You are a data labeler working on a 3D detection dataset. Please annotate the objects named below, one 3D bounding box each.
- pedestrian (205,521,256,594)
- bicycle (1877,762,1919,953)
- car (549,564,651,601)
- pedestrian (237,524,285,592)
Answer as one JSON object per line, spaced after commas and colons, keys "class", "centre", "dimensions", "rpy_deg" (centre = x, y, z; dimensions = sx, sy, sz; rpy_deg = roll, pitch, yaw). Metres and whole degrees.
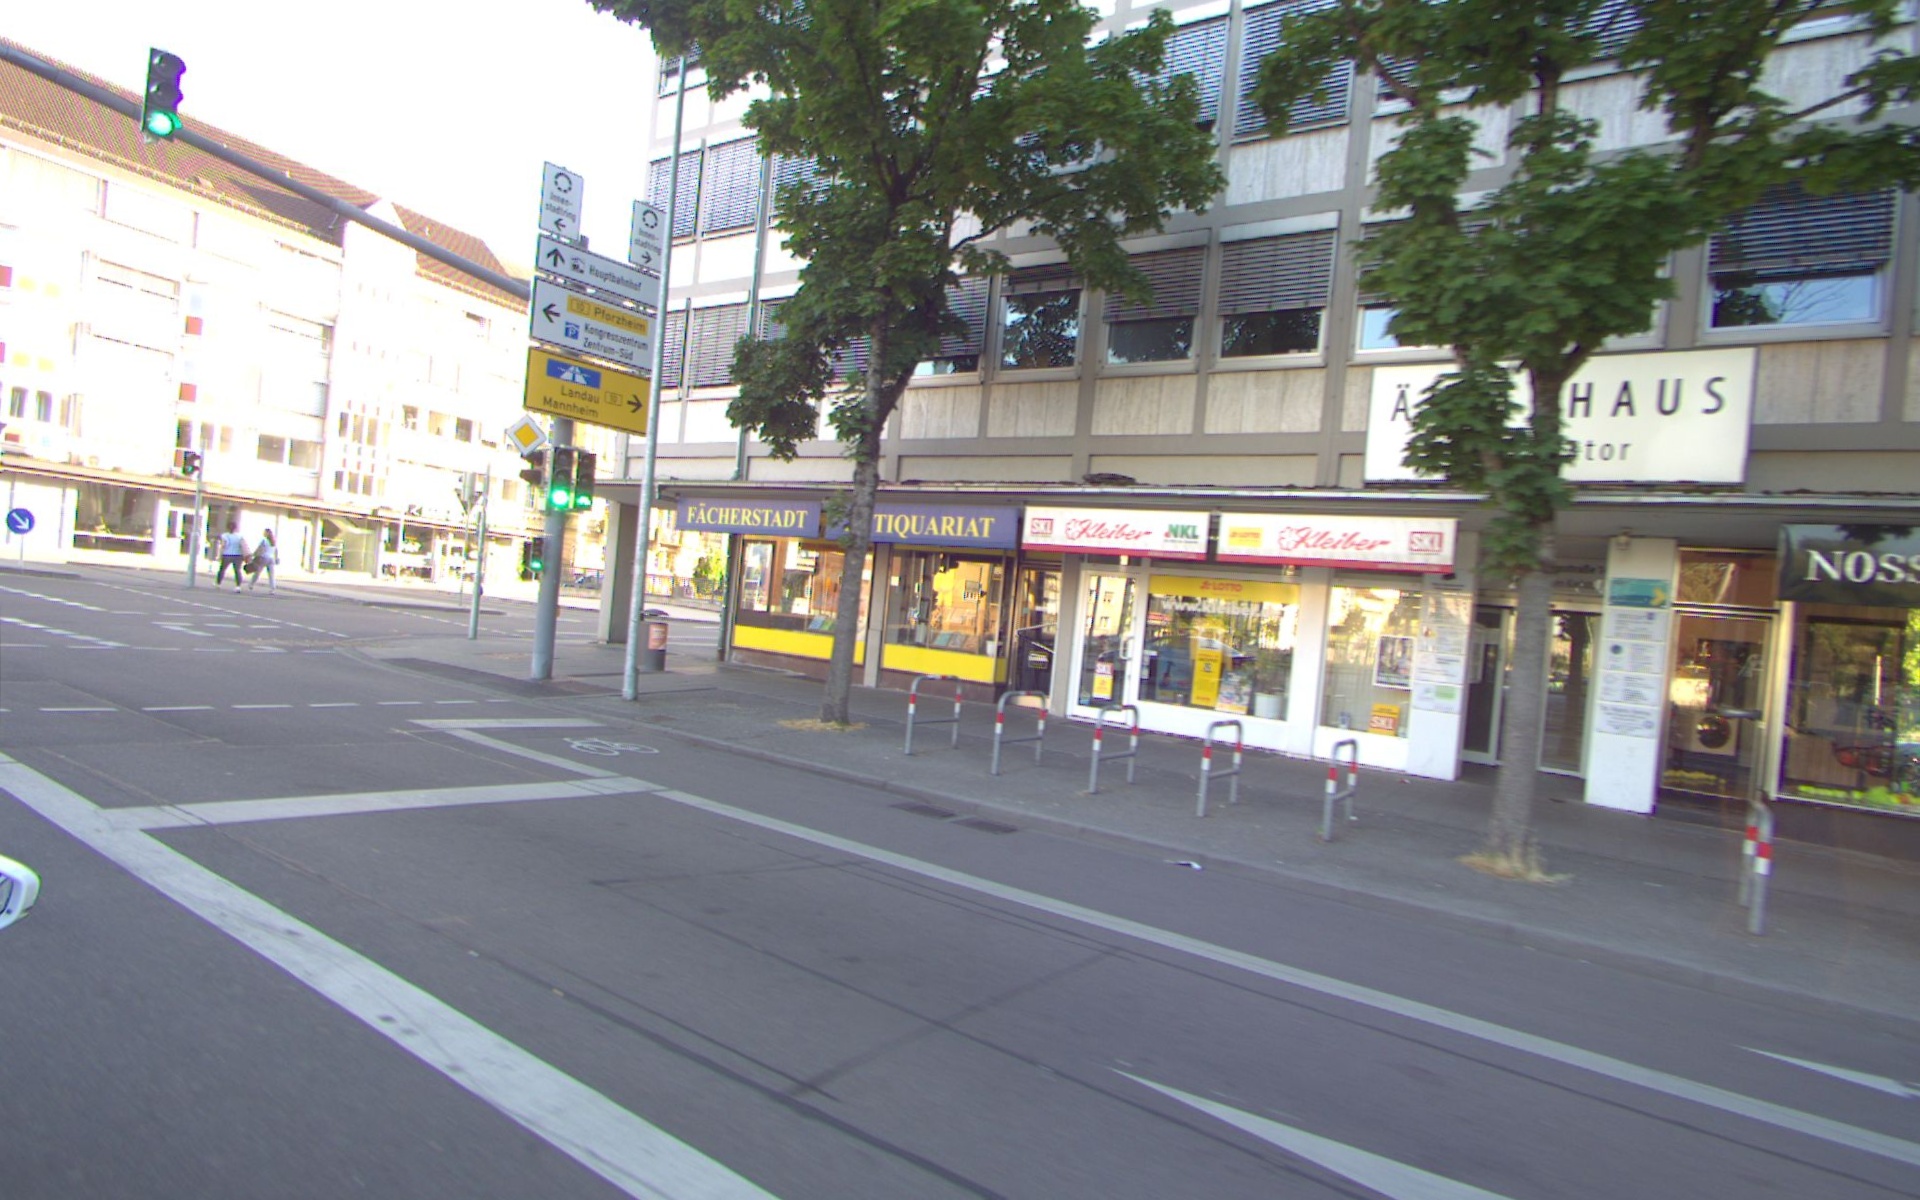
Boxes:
{"class": "pedestrian", "centre": [-17.589, -1.014, 24.265], "dimensions": [0.717, 1.670, 0.768], "rpy_deg": [5, 1, -21]}
{"class": "bicycle", "centre": [6.393, 1.699, 6.112], "dimensions": [0.655, 1.155, 1.743], "rpy_deg": [6, 1, 26]}
{"class": "car", "centre": [-18.897, -0.911, 52.976], "dimensions": [2.189, 1.576, 4.590], "rpy_deg": [7, 3, 37]}
{"class": "pedestrian", "centre": [-17.476, -1.049, 25.156], "dimensions": [0.695, 1.602, 0.822], "rpy_deg": [5, 1, -21]}
